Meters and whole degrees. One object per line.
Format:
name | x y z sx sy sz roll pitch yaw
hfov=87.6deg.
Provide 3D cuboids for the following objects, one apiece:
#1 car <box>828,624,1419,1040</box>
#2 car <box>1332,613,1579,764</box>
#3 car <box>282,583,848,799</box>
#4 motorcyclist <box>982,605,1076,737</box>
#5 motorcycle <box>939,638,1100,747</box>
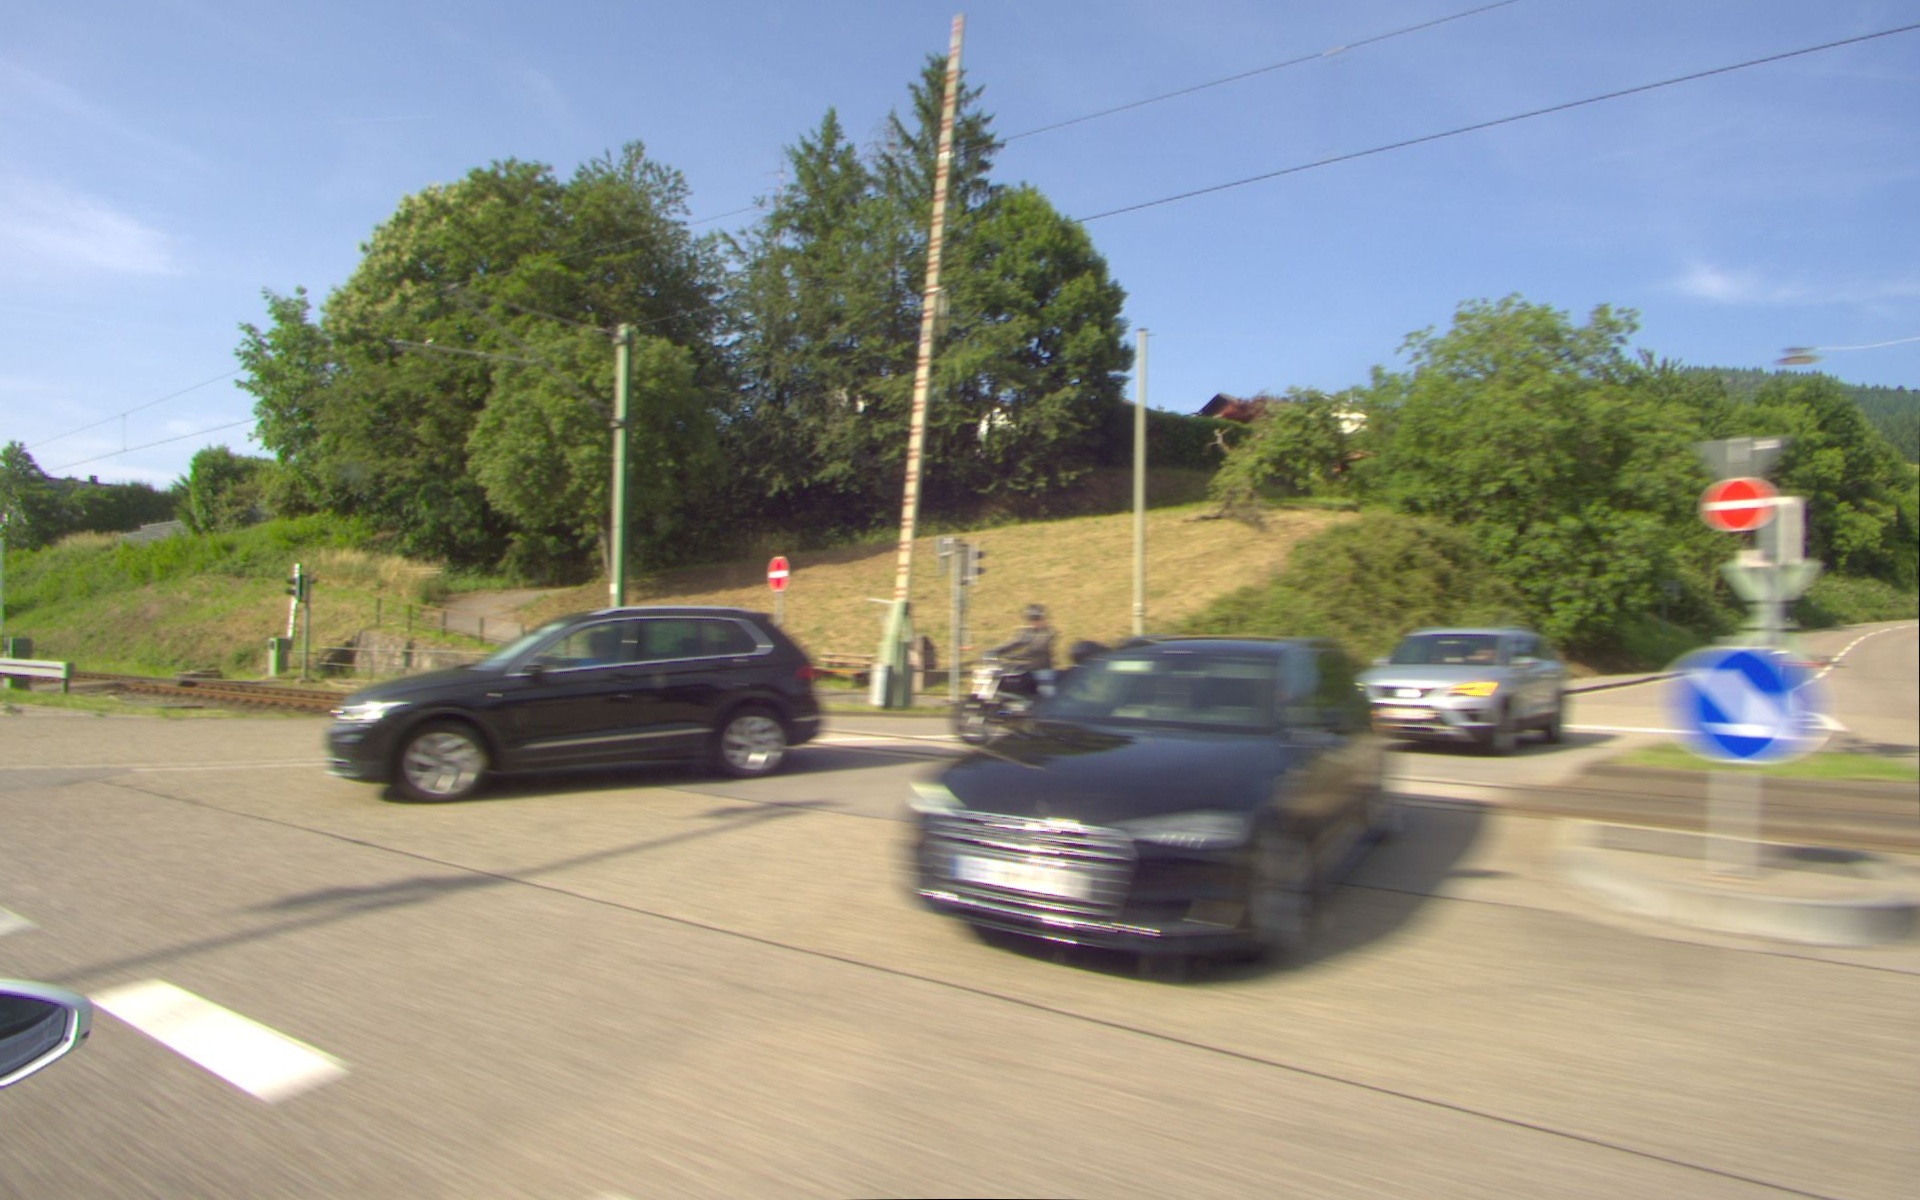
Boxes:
car | 1.429 0.900 6.120 1.816 1.489 4.716 0 -1 33
car | 6.757 1.123 13.448 1.816 1.708 4.091 0 -3 44
car | -3.622 0.769 9.719 4.671 1.681 1.922 1 -1 -28
motorcyclist | 0.883 0.896 12.839 0.900 1.617 0.758 3 -3 -42
motorcycle | 0.796 1.154 12.777 2.078 1.270 0.792 4 -3 -41
